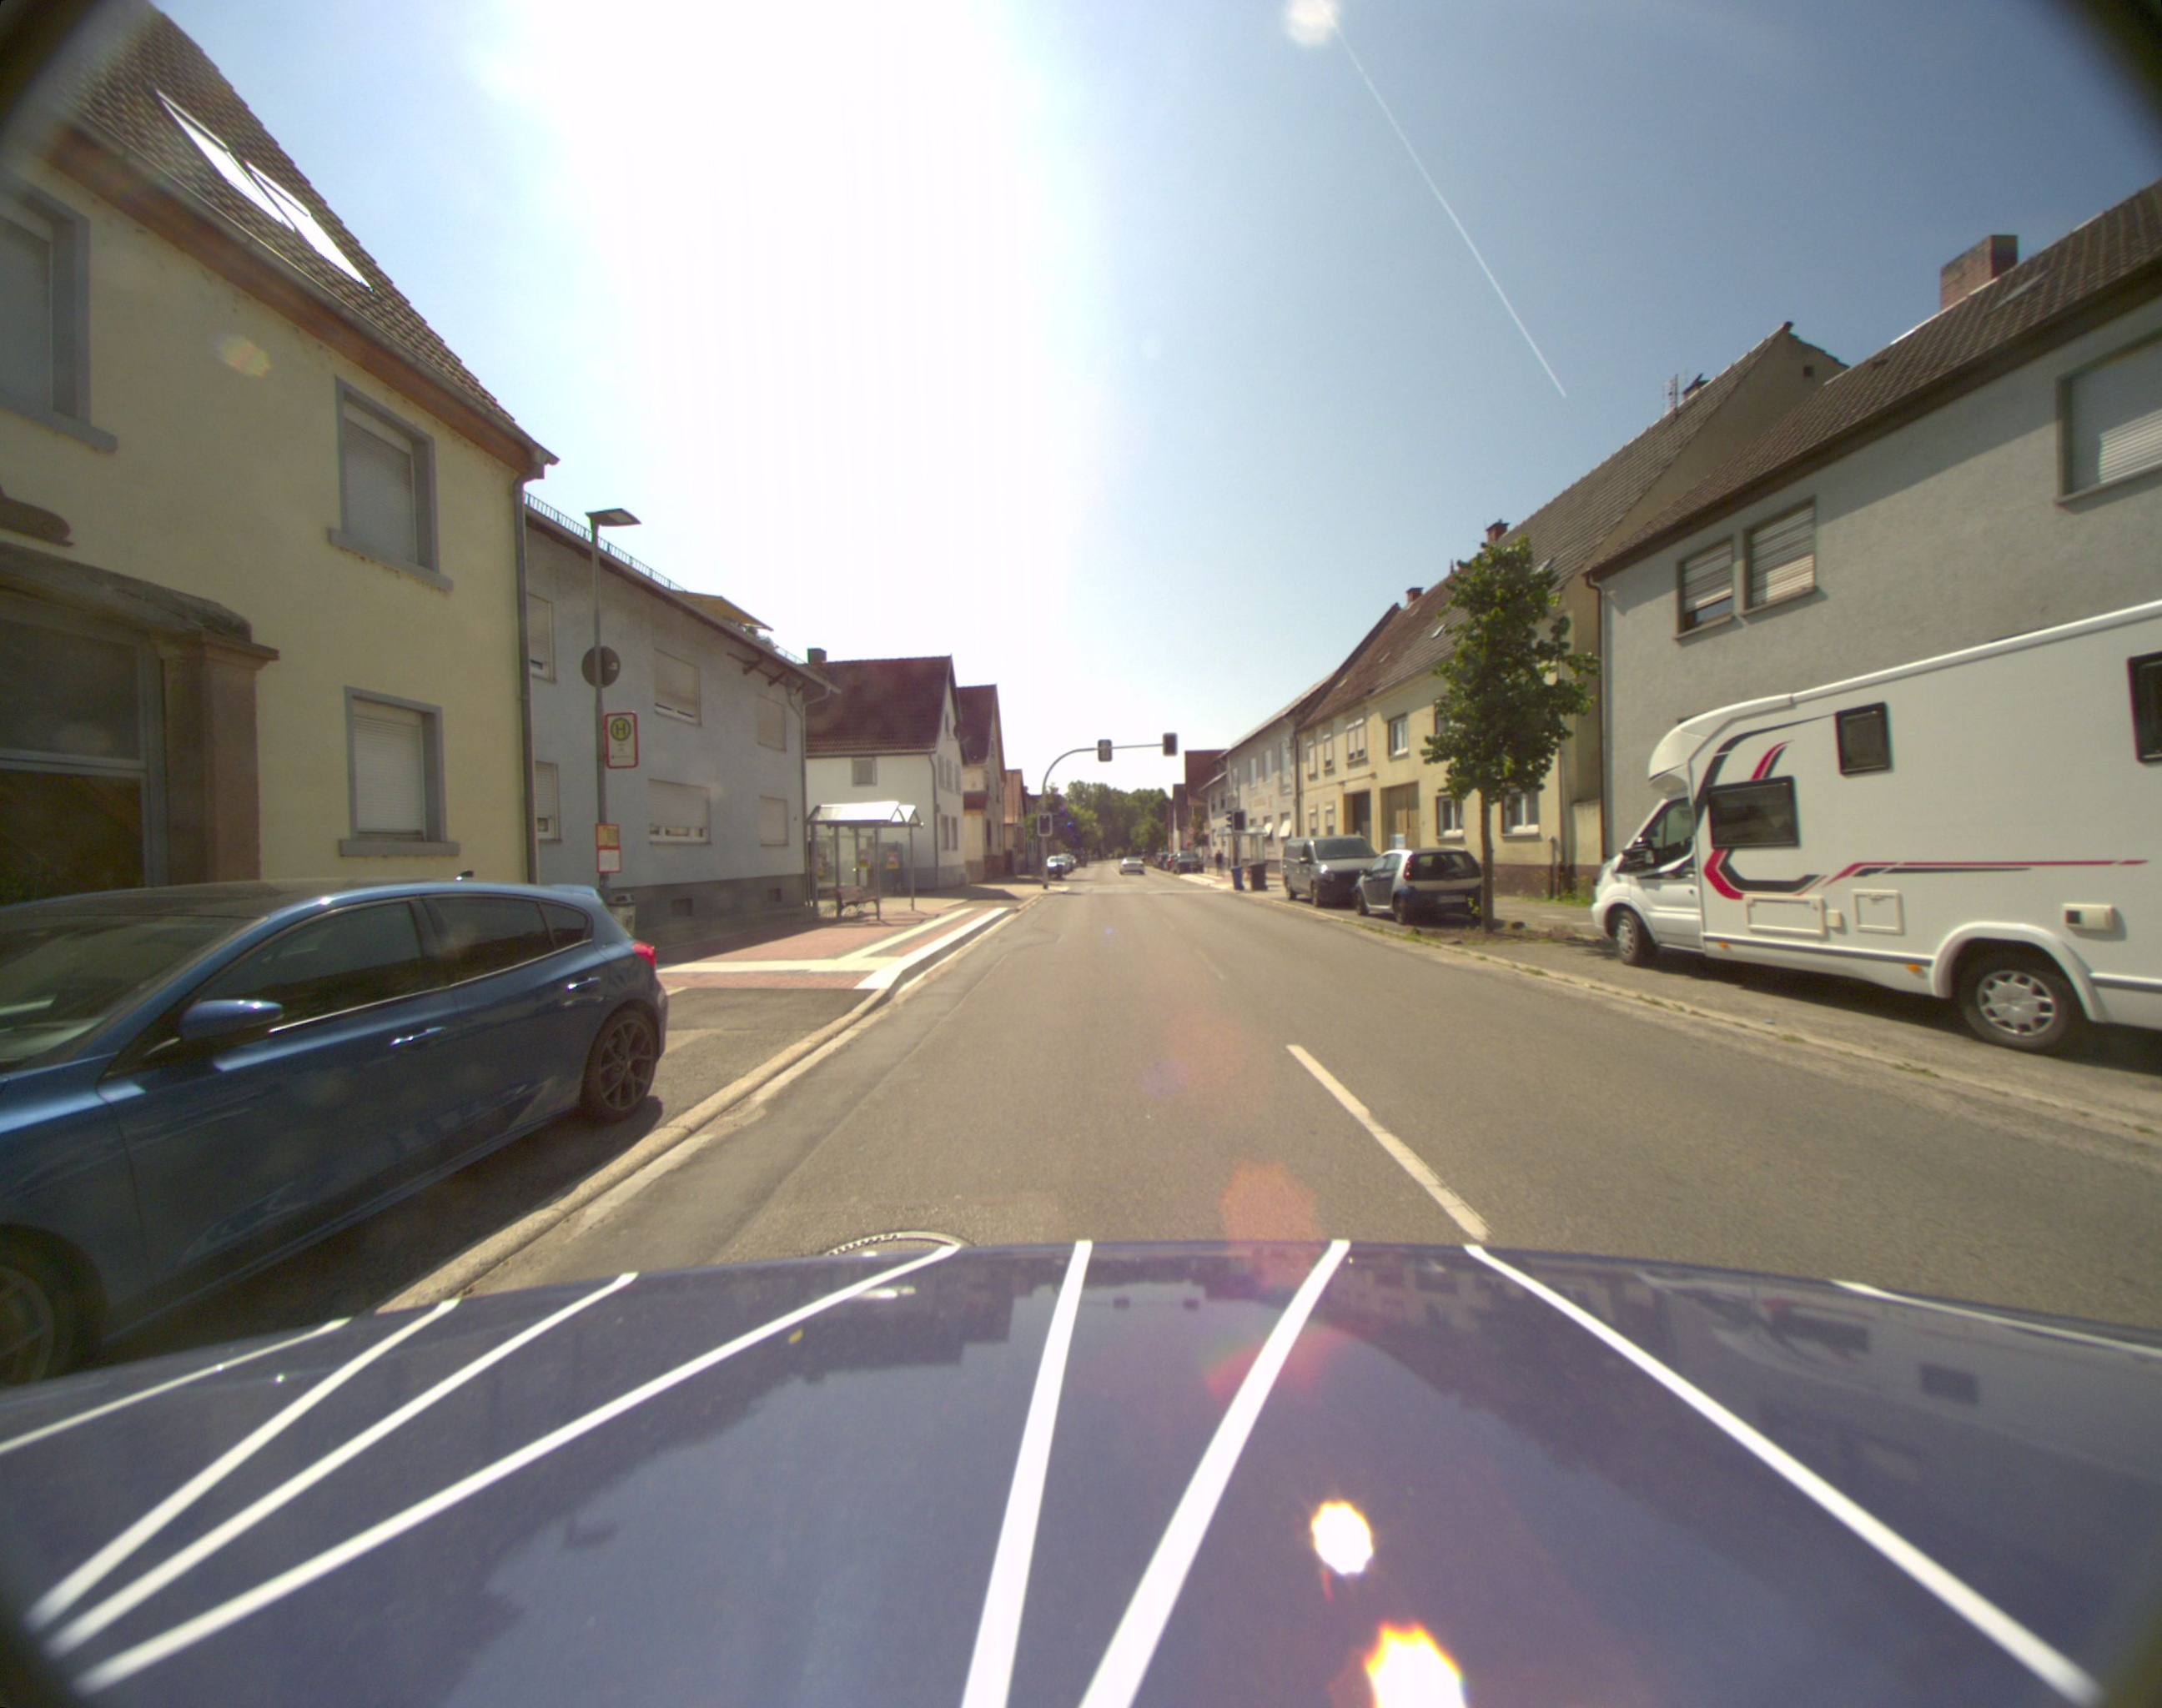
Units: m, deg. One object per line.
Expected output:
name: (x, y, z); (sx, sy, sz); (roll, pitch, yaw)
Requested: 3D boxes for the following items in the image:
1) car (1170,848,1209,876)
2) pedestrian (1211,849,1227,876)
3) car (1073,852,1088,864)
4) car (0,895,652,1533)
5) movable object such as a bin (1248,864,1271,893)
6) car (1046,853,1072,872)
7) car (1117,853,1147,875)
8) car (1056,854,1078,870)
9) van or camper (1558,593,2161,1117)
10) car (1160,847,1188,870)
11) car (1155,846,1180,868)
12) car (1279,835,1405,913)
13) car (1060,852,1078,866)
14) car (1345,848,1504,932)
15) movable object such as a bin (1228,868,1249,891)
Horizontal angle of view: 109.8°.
car: (7.729, 0.525, 54.596); (2.355, 1.837, 4.957); (-2, 0, 3)
pedestrian: (7.987, 0.474, 43.928); (0.752, 1.523, 0.581); (-2, 1, 0)
car: (-0.090, 0.567, 108.090); (1.998, 1.659, 4.000); (-2, 0, 0)
car: (-3.546, 0.990, 2.685); (1.733, 1.419, 3.986); (-2, 0, 0)
movable object such as a bin: (6.792, 0.912, 28.962); (0.718, 1.060, 0.550); (-2, 1, -1)
car: (-1.779, 0.689, 63.037); (1.998, 1.477, 4.000); (-2, 0, 0)
car: (3.873, 0.755, 58.313); (1.998, 1.521, 4.000); (-2, 0, 0)
car: (-1.350, 0.774, 73.721); (1.998, 1.477, 4.000); (-2, 0, 0)
van or camper: (7.236, -0.030, 6.138); (2.451, 2.888, 7.068); (-2, 0, 2)
car: (7.808, 0.366, 63.976); (1.998, 1.837, 4.957); (-2, 0, 3)
car: (7.930, 0.265, 69.862); (1.998, 1.837, 4.957); (-2, 0, 3)
car: (7.025, 0.483, 21.062); (1.998, 1.837, 4.957); (-2, 0, 3)
car: (-1.357, 0.579, 86.944); (1.998, 1.477, 4.000); (-2, 0, 0)
car: (6.891, 0.649, 15.674); (1.689, 1.474, 3.618); (-2, 0, 2)
movable object such as a bin: (6.279, 1.016, 30.314); (0.718, 0.907, 0.550); (-2, 1, -1)
